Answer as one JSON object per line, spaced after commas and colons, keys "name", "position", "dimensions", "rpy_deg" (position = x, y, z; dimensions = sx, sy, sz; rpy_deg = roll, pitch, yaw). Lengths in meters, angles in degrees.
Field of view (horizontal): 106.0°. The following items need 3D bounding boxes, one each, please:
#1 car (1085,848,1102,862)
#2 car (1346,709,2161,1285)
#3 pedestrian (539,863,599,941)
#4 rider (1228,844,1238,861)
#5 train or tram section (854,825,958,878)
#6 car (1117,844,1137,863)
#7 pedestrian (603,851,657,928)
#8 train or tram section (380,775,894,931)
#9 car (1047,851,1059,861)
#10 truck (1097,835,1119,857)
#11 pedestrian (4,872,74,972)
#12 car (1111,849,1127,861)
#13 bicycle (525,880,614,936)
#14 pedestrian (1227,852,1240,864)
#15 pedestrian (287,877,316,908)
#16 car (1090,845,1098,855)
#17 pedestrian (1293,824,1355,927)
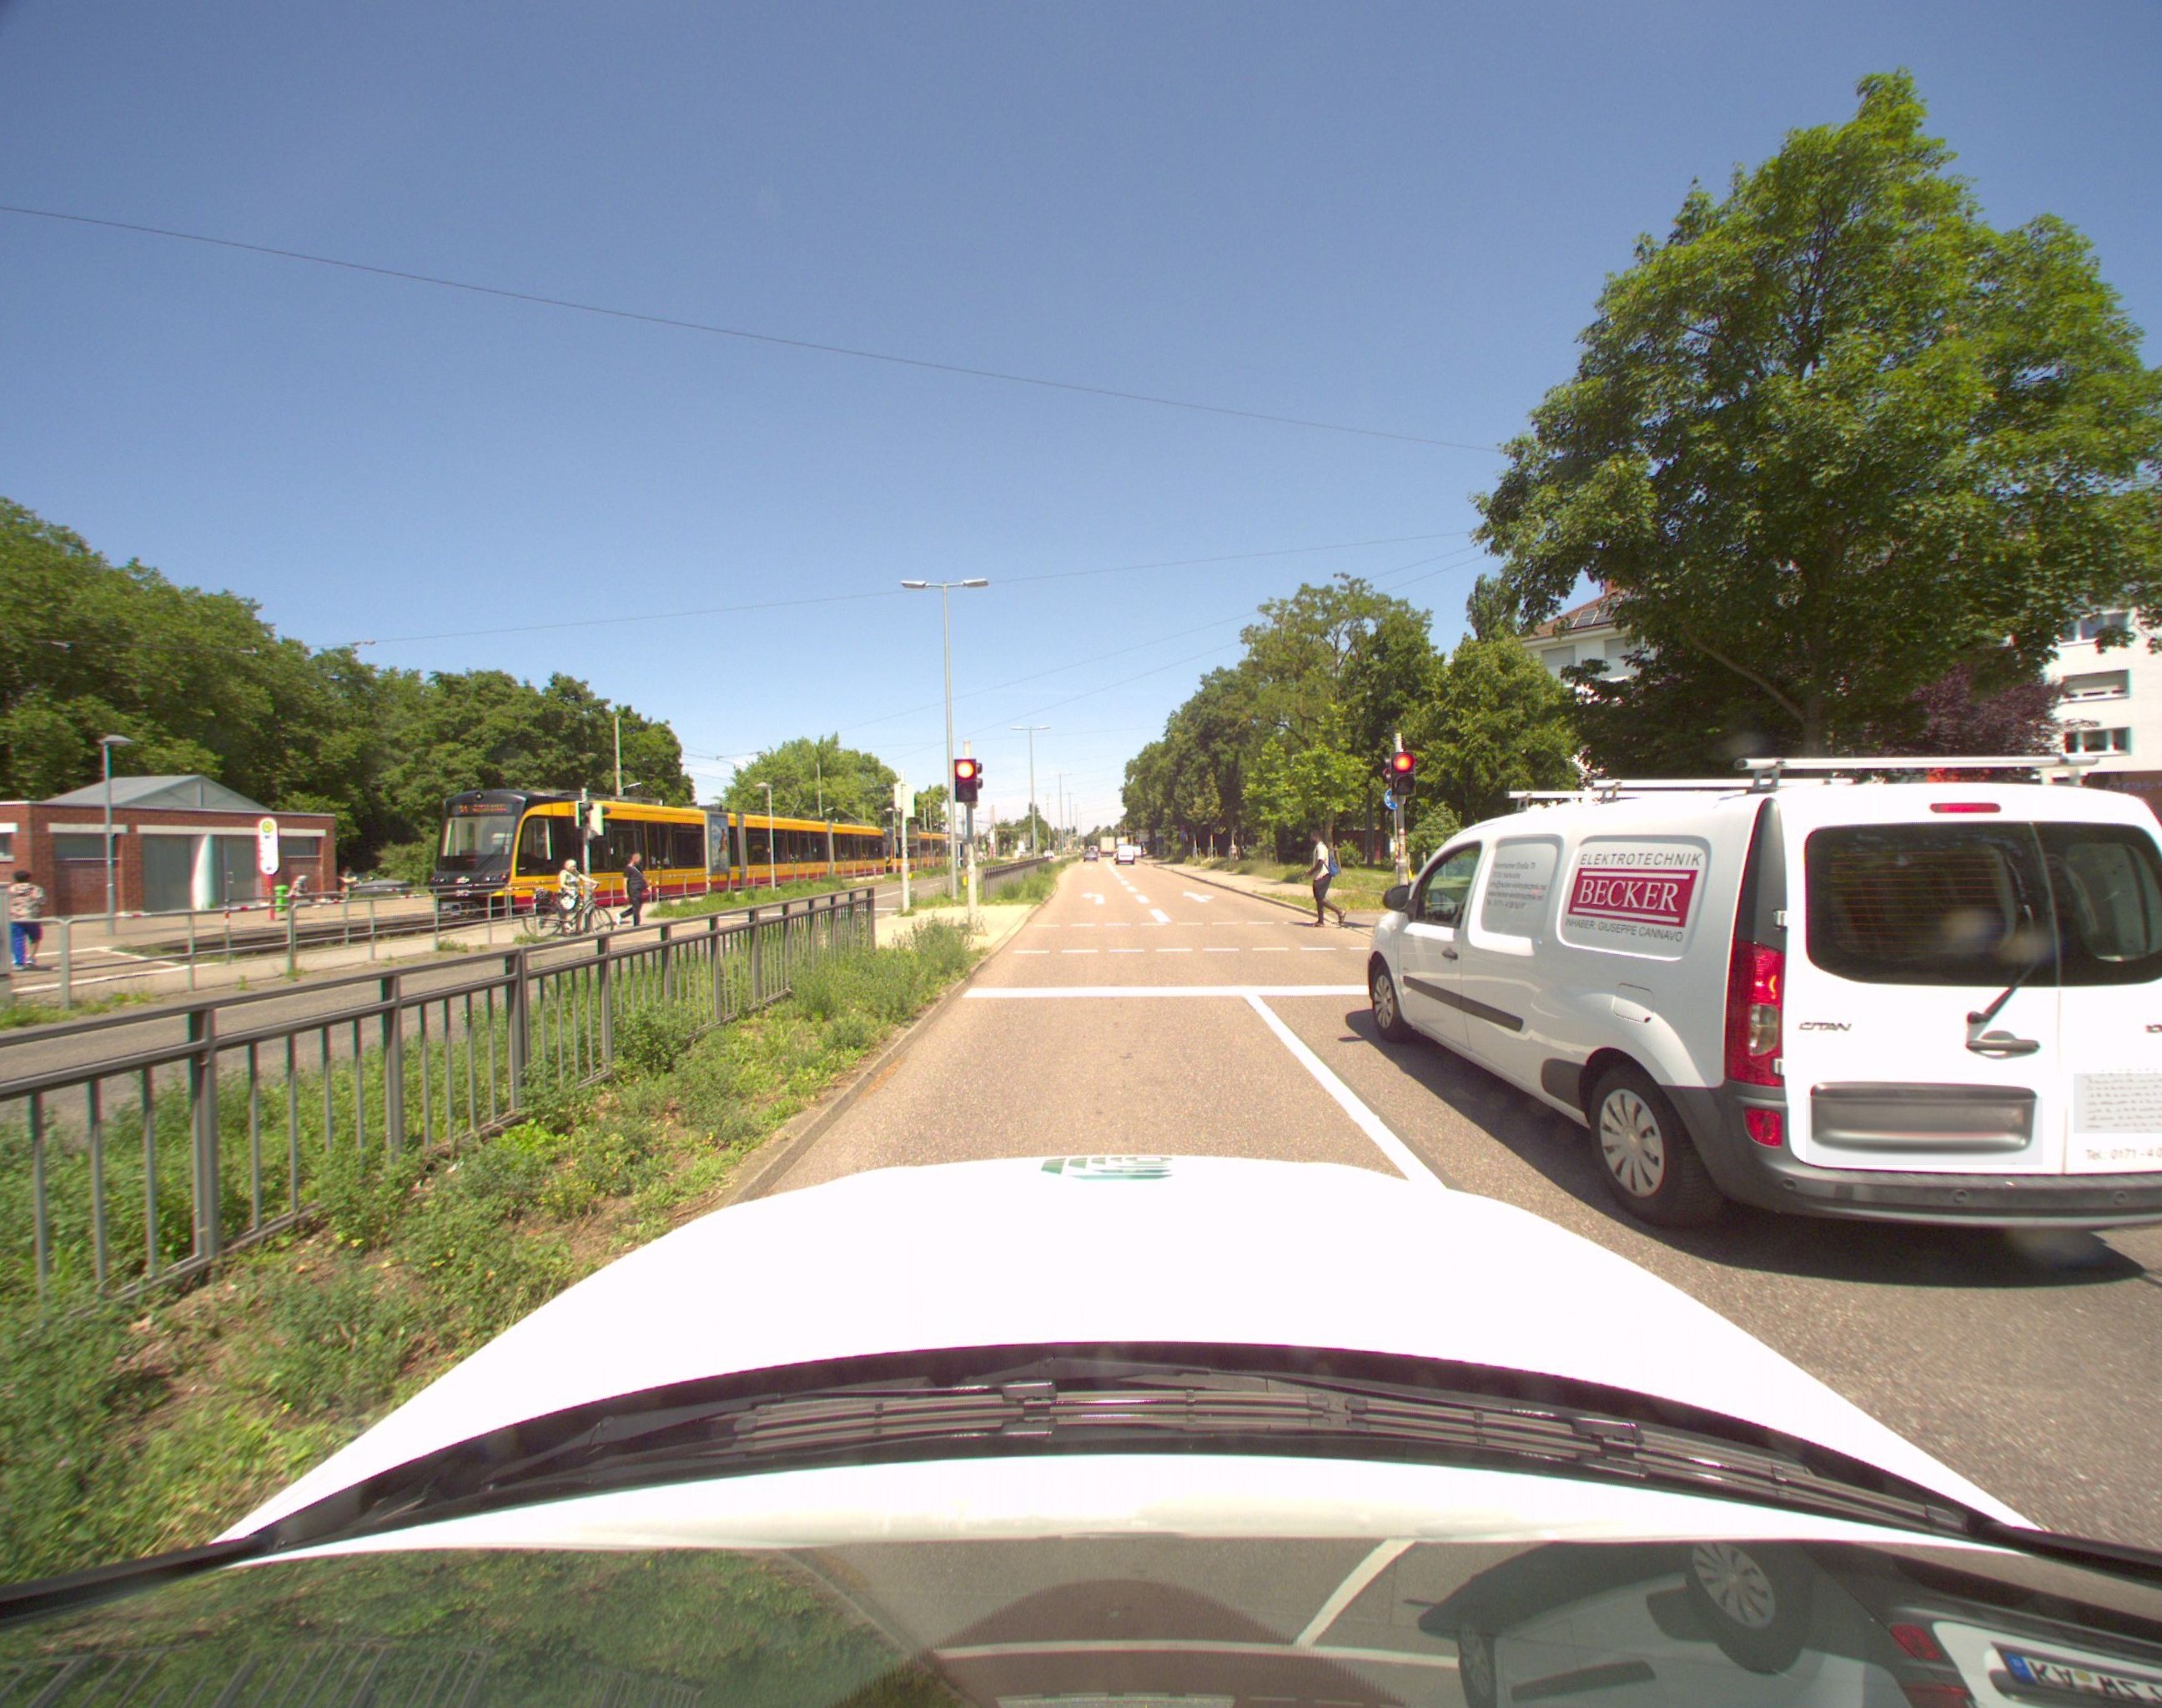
{"name": "car", "position": [1.490, 0.118, 95.561], "dimensions": [1.794, 1.486, 4.004], "rpy_deg": [-2, 0, 3]}
{"name": "car", "position": [3.159, 0.456, 4.893], "dimensions": [1.817, 1.881, 4.458], "rpy_deg": [0, 0, 2]}
{"name": "pedestrian", "position": [-11.168, 1.035, 17.775], "dimensions": [0.815, 1.628, 0.706], "rpy_deg": [-1, 0, 6]}
{"name": "rider", "position": [11.432, -0.105, 61.308], "dimensions": [0.675, 1.281, 0.534], "rpy_deg": [-1, 0, 0]}
{"name": "train or tram section", "position": [-14.214, -0.246, 69.992], "dimensions": [2.778, 3.668, 26.005], "rpy_deg": [-1, 0, 1]}
{"name": "car", "position": [4.427, -0.084, 77.530], "dimensions": [1.719, 1.813, 4.007], "rpy_deg": [0, 1, 6]}
{"name": "pedestrian", "position": [-10.853, 0.841, 19.609], "dimensions": [0.949, 1.796, 0.710], "rpy_deg": [-1, 0, 30]}
{"name": "train or tram section", "position": [-14.935, -0.103, 38.222], "dimensions": [2.778, 3.668, 37.526], "rpy_deg": [-1, 0, 1]}
{"name": "car", "position": [-5.386, 0.360, 155.161], "dimensions": [1.986, 1.650, 4.001], "rpy_deg": [-2, 0, 1]}
{"name": "truck", "position": [5.037, -1.506, 154.249], "dimensions": [3.885, 3.812, 10.795], "rpy_deg": [-2, 0, 1]}
{"name": "pedestrian", "position": [-16.901, 1.083, 13.212], "dimensions": [0.858, 1.541, 0.541], "rpy_deg": [-1, 0, 28]}
{"name": "car", "position": [4.927, 0.078, 106.292], "dimensions": [1.797, 1.540, 3.999], "rpy_deg": [-1, 0, 0]}
{"name": "bicycle", "position": [-11.142, 1.171, 17.755], "dimensions": [1.853, 1.157, 0.243], "rpy_deg": [-2, 0, 6]}
{"name": "pedestrian", "position": [11.446, 0.272, 61.325], "dimensions": [0.675, 0.847, 1.774], "rpy_deg": [-1, 0, 1]}
{"name": "pedestrian", "position": [-27.068, 1.338, 28.278], "dimensions": [0.479, 1.018, 0.523], "rpy_deg": [-1, 0, 3]}
{"name": "car", "position": [2.693, -0.807, 170.355], "dimensions": [1.682, 1.897, 3.871], "rpy_deg": [-2, 0, 1]}
{"name": "pedestrian", "position": [4.514, 0.391, 15.162], "dimensions": [1.038, 1.850, 0.760], "rpy_deg": [-1, 0, 15]}
